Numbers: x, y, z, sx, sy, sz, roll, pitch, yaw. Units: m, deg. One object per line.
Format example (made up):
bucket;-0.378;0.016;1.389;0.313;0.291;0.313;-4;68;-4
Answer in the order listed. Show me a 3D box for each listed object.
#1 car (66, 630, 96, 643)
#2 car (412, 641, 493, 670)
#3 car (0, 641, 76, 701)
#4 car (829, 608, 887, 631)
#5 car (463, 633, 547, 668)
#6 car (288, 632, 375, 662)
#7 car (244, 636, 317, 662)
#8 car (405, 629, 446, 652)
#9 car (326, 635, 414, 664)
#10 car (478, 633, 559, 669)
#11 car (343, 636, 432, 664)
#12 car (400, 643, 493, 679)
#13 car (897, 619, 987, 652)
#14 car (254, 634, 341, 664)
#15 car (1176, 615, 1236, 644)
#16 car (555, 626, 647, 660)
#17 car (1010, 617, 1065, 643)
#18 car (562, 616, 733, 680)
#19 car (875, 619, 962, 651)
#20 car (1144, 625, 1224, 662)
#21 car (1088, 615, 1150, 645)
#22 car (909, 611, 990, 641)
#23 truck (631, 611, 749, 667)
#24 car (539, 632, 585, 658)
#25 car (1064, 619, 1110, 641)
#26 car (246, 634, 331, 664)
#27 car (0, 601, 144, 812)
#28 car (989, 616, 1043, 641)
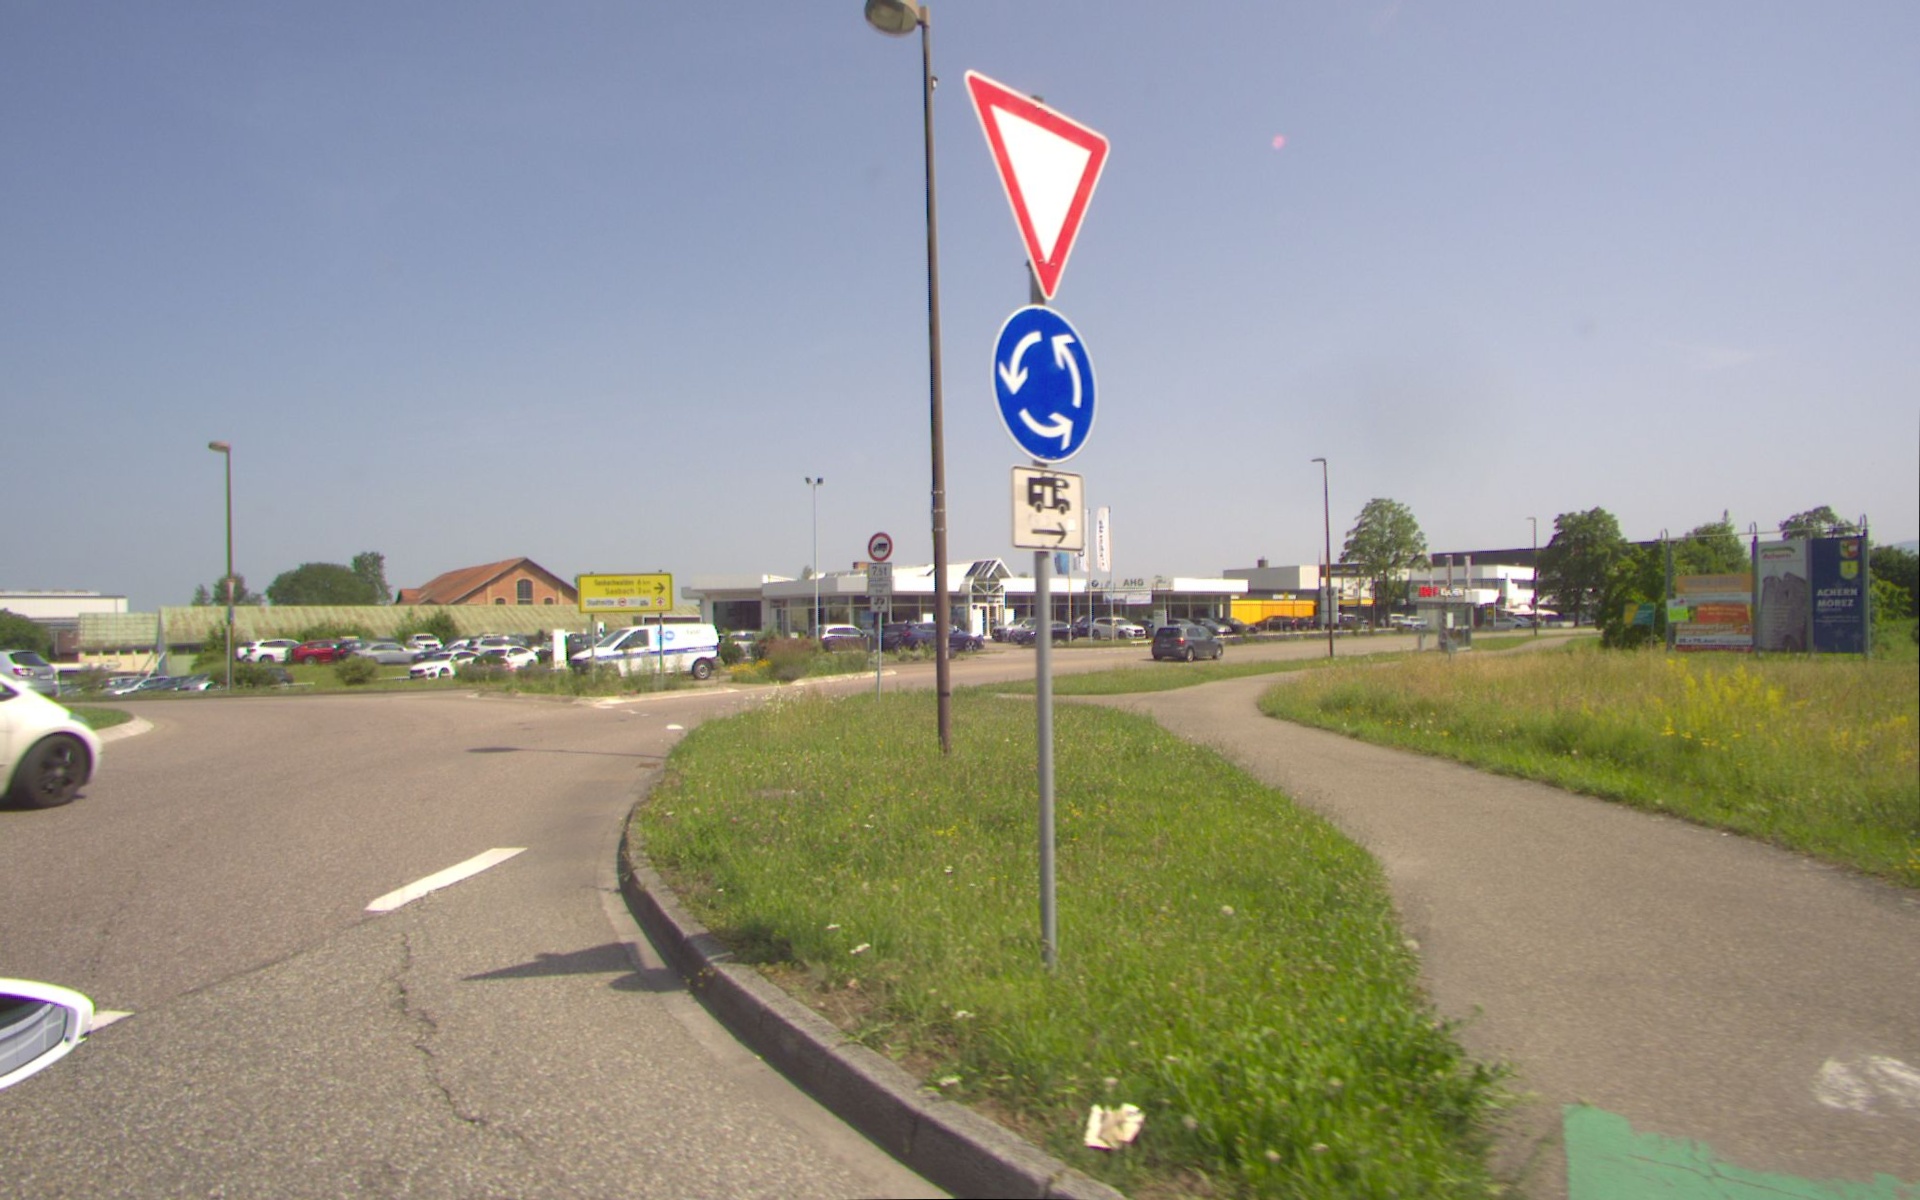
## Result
car;-105.188;4.350;119.828;1.972;1.415;3.982;0;-4;-31
car;-29.563;3.210;58.377;3.960;1.546;1.936;-1;-1;-37
car;-25.990;1.882;26.126;4.025;1.549;1.778;0;-3;-28
car;-7.726;1.484;76.119;3.992;1.606;1.896;-1;-1;-38
car;-26.381;2.893;58.125;3.967;1.773;1.932;-2;0;-43
car;-39.994;2.970;63.773;4.422;1.769;1.932;-1;-2;-43
car;-46.082;3.317;67.928;3.848;1.552;1.752;-1;-2;-43
car;-40.976;3.110;76.774;1.902;1.616;4.269;-1;-2;-40
car;-36.941;3.083;62.779;4.422;1.656;1.932;-1;-2;-43
car;-23.622;2.688;53.788;1.734;1.592;4.662;-2;1;7
car;-35.071;3.042;61.451;4.422;1.519;1.932;-1;-1;-43
car;-26.630;3.147;52.133;1.736;1.591;4.574;-3;-1;13
car;-0.951;1.788;50.797;4.293;1.532;1.909;-1;-1;-11
car;-42.757;3.145;64.668;4.422;1.769;1.822;-1;-2;-43
car;19.092;2.323;77.883;1.977;2.038;4.230;1;-4;-39
car;-20.214;2.425;56.481;4.379;1.519;1.932;-4;0;-43
car;5.212;2.005;67.209;3.657;1.674;1.569;1;-4;-40
car;-10.377;1.592;33.464;5.168;1.962;1.848;1;-4;-38
car;-2.205;1.852;52.730;4.293;1.532;1.909;-1;-1;-11
car;10.050;1.929;44.734;1.754;1.503;4.007;-2;-1;42
car;11.472;2.191;72.441;1.977;2.038;4.230;1;-4;-39
car;-0.607;1.464;56.871;4.293;1.532;1.909;-1;-1;-11
truck;-13.986;1.962;52.005;5.559;2.699;1.935;-1;-1;-38
car;-26.984;3.011;68.006;1.626;1.606;4.269;-1;-1;-4
car;10.000;2.384;78.692;3.657;1.674;1.569;1;-4;-40
car;-44.458;3.222;66.364;4.422;1.769;1.822;-1;-2;-43
car;-8.318;0.795;7.051;1.752;1.624;3.894;0;-1;5
car;3.931;2.016;69.839;3.657;1.674;1.569;1;-4;-40
